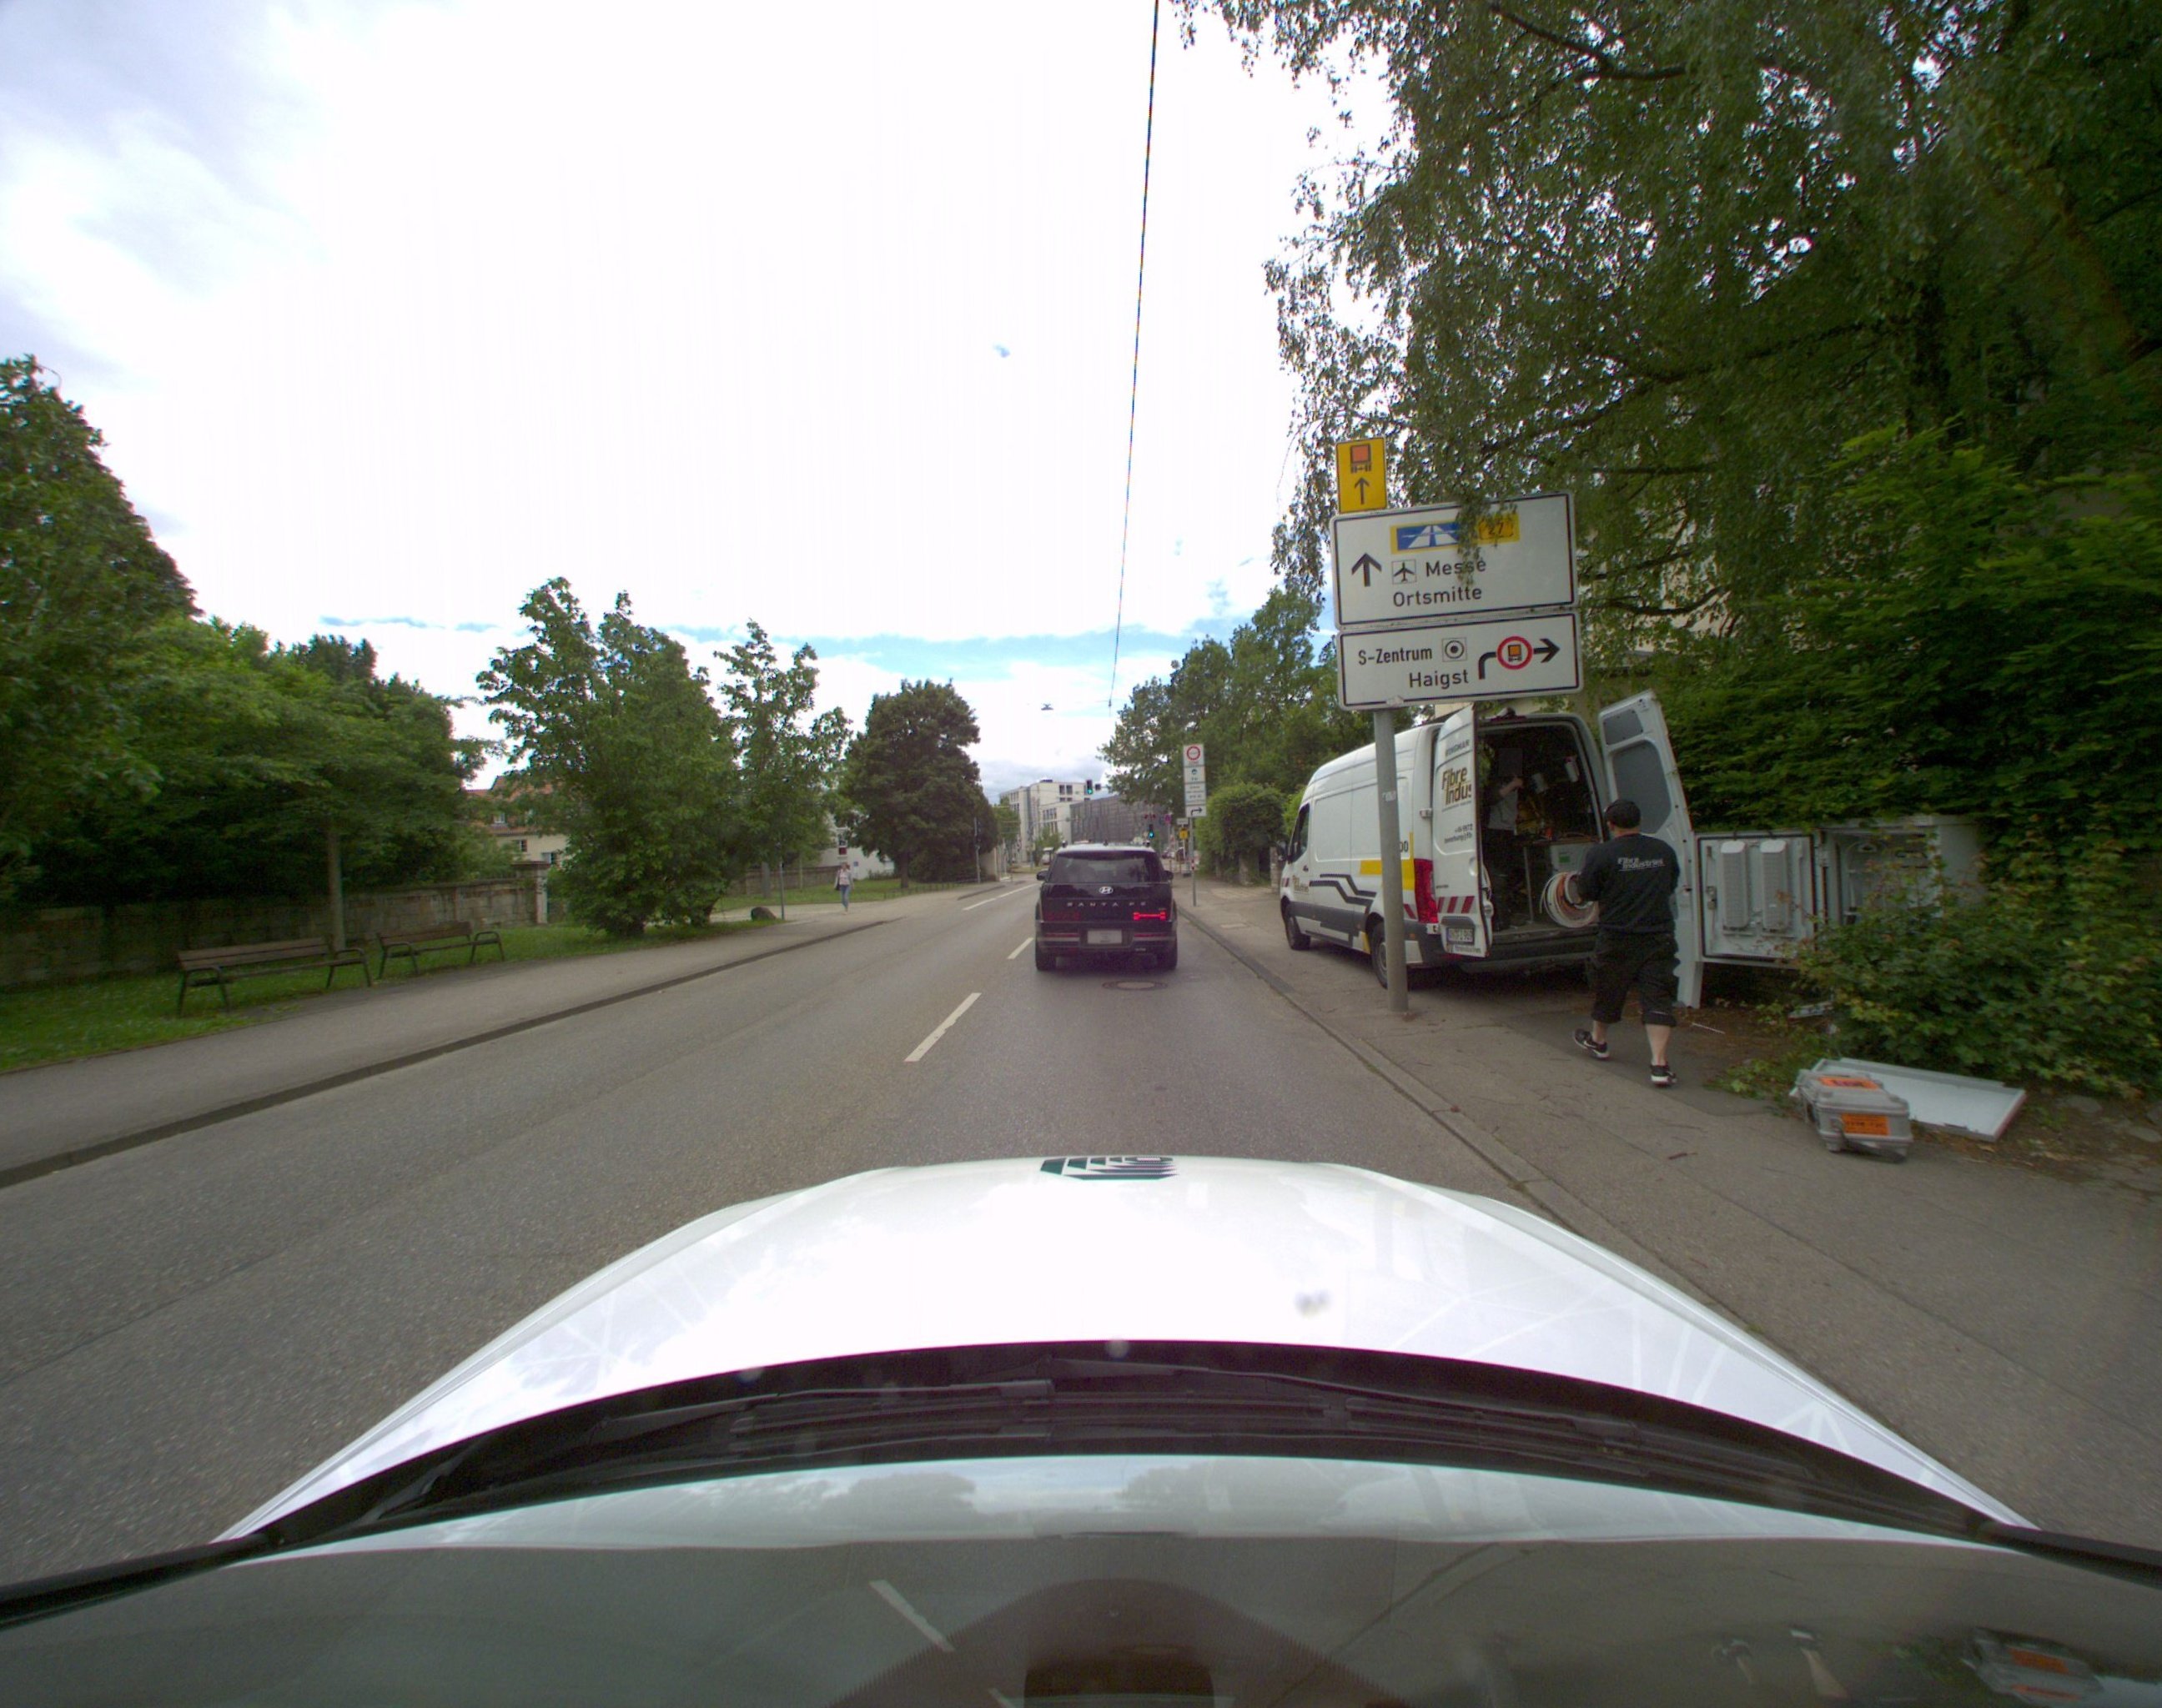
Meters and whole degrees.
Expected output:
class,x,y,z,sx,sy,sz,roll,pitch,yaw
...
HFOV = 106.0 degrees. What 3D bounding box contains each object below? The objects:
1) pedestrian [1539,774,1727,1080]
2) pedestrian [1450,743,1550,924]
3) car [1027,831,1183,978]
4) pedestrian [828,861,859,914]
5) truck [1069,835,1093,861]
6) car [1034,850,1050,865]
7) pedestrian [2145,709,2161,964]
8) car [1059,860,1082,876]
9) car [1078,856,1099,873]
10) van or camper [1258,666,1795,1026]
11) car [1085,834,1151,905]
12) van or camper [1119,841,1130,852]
class,x,y,z,sx,sy,sz,roll,pitch,yaw
pedestrian,3.394,0.424,5.094,0.743,1.720,0.796,-5,0,26
pedestrian,4.093,-0.183,7.962,0.729,1.643,0.806,-4,-1,29
car,0.367,0.624,11.890,1.890,1.776,3.996,0,0,2
pedestrian,-8.018,1.125,27.537,0.764,1.748,0.904,-1,-1,-1
truck,-0.108,-0.868,127.885,3.101,3.859,9.608,-3,0,-4
car,-6.233,0.576,128.552,2.328,2.315,4.951,-3,0,-4
pedestrian,3.731,0.389,2.344,0.646,1.751,0.653,-3,-2,44
car,-0.999,1.271,75.555,1.880,1.420,3.995,-3,0,-4
car,0.788,1.133,88.905,1.881,1.638,3.890,-3,0,-6
van or camper,4.065,-0.002,9.425,2.333,2.494,6.600,-6,-1,-1
car,1.152,0.463,25.495,1.890,2.042,3.996,0,0,2
van or camper,8.291,-1.413,156.686,1.791,1.999,3.821,0,0,-1
